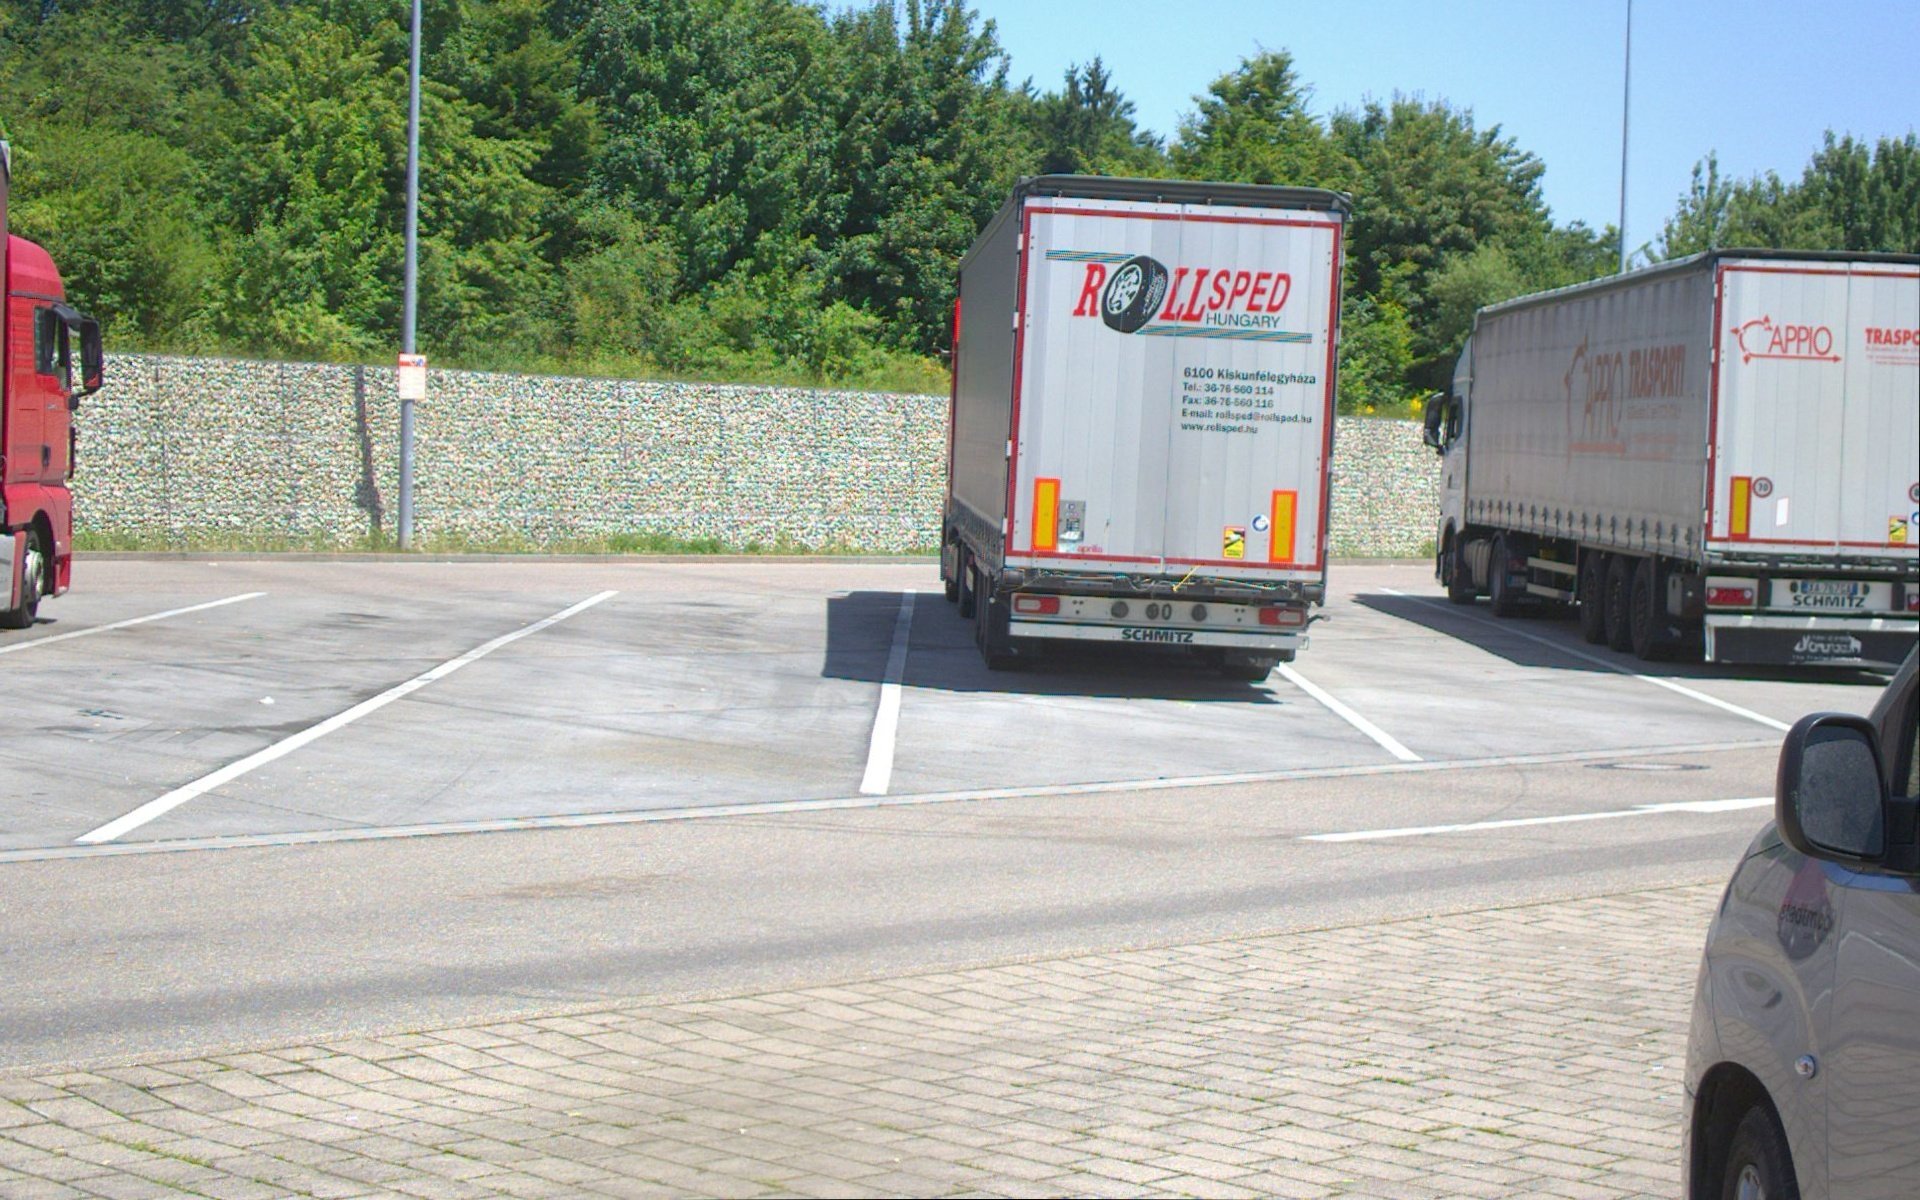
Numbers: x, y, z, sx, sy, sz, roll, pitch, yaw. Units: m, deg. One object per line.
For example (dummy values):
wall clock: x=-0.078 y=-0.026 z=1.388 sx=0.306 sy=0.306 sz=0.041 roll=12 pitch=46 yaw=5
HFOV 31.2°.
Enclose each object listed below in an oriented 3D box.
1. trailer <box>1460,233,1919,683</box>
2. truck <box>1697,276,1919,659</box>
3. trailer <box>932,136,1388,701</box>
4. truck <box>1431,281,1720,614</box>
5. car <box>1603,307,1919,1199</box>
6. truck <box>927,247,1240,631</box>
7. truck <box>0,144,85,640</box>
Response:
trailer: x=8.135 y=-1.533 z=38.466 sx=2.876 sy=4.110 sz=13.572 roll=1 pitch=2 yaw=-1
truck: x=11.725 y=-1.471 z=39.798 sx=2.904 sy=4.110 sz=14.528 roll=3 pitch=2 yaw=-1
trailer: x=1.473 y=-1.693 z=32.629 sx=3.069 sy=4.213 sz=12.810 roll=2 pitch=3 yaw=-2
truck: x=8.022 y=-1.984 z=45.461 sx=2.757 sy=4.110 sz=5.285 roll=1 pitch=2 yaw=-1
car: x=2.129 y=0.538 z=3.785 sx=1.825 sy=1.747 sz=4.001 roll=1 pitch=2 yaw=-4
truck: x=1.258 y=-1.850 z=39.397 sx=3.026 sy=3.915 sz=6.847 roll=2 pitch=3 yaw=-2
truck: x=-9.237 y=-1.698 z=27.648 sx=2.743 sy=4.067 sz=6.830 roll=1 pitch=2 yaw=-1
